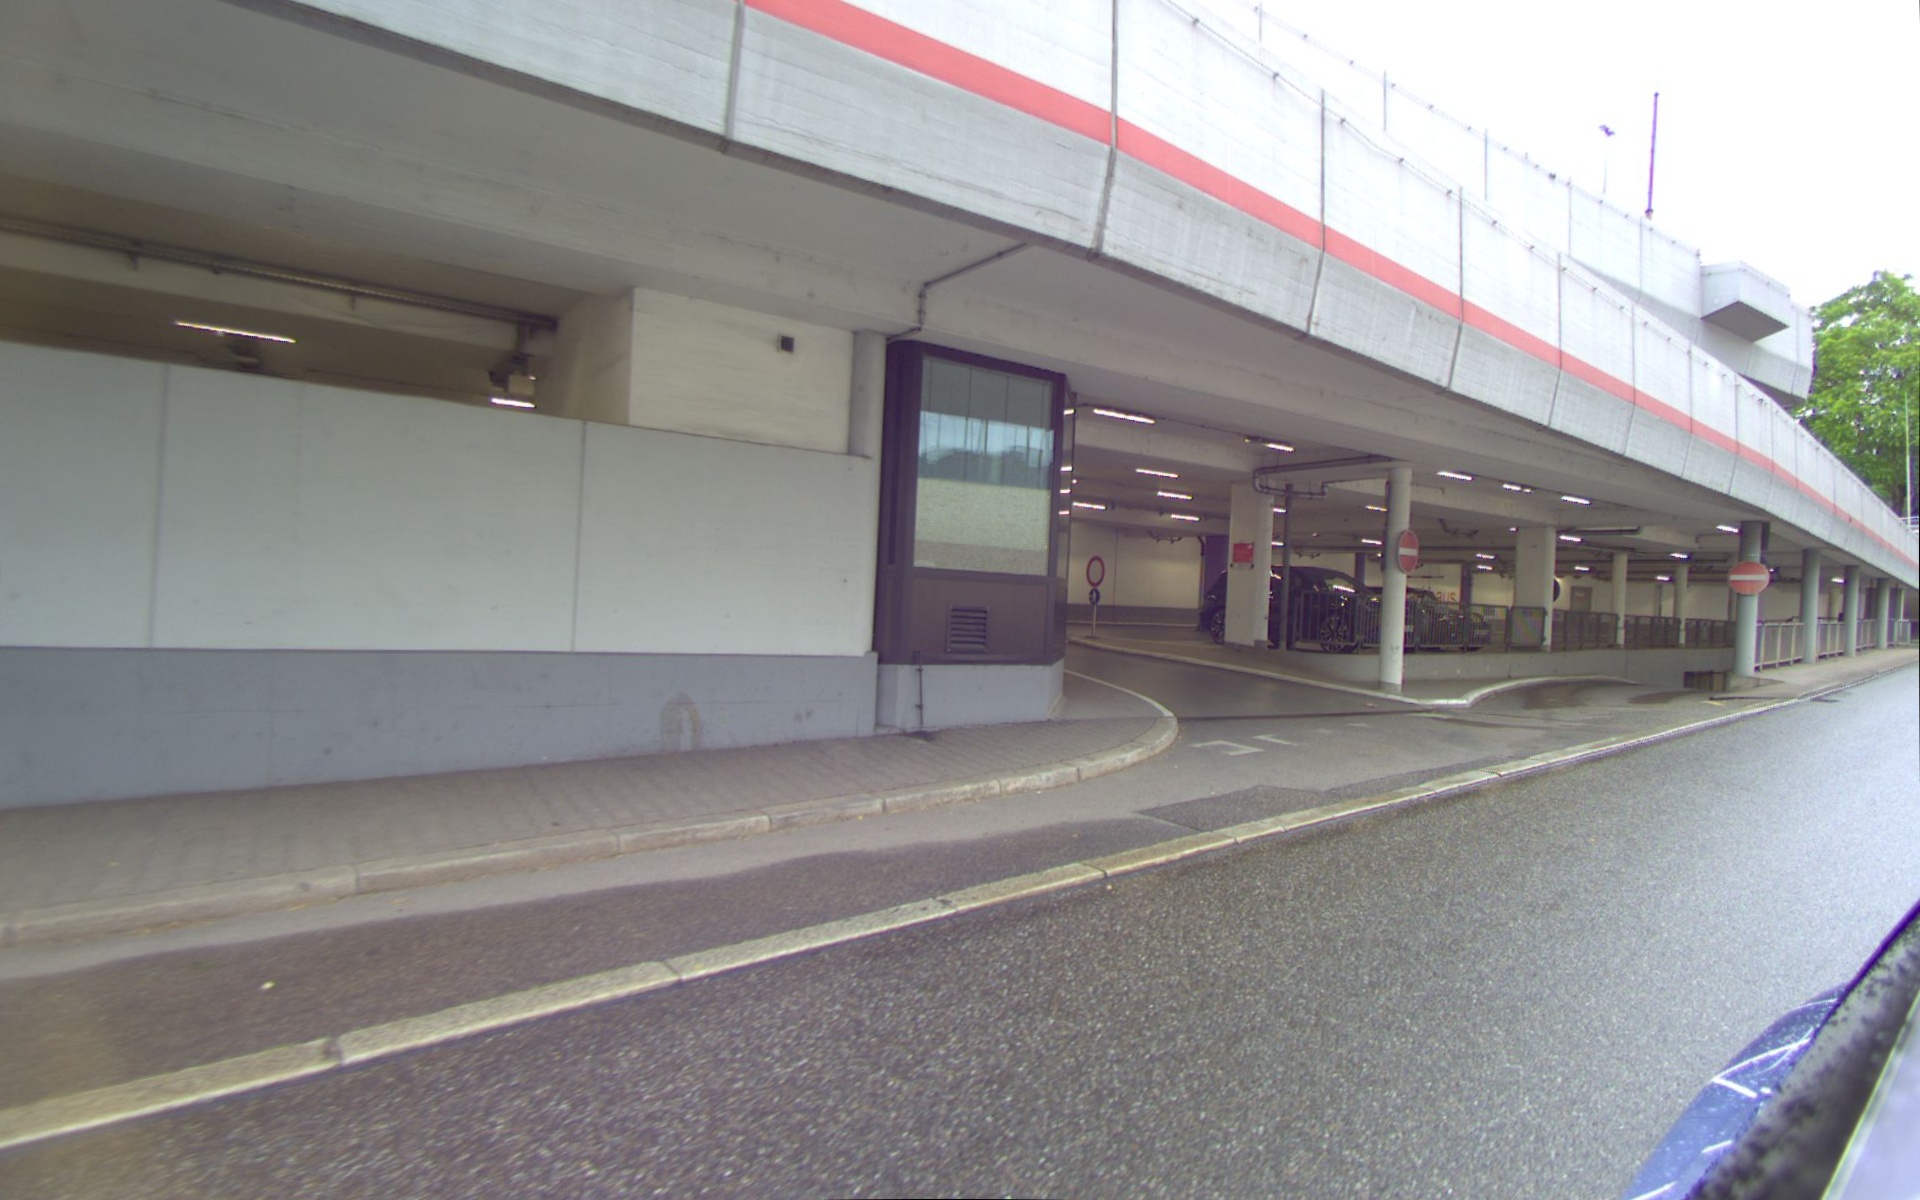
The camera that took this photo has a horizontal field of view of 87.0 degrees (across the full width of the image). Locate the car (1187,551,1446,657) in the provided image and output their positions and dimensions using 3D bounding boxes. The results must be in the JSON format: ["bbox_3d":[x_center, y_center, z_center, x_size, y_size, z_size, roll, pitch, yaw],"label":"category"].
[{"bbox_3d":[6.888,0.005,20.067,1.786,1.659,4.596,2,3,-34],"label":"car"}]

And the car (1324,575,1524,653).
[{"bbox_3d":[10.498,0.274,23.125,1.772,1.524,3.737,2,1,-35],"label":"car"}]
